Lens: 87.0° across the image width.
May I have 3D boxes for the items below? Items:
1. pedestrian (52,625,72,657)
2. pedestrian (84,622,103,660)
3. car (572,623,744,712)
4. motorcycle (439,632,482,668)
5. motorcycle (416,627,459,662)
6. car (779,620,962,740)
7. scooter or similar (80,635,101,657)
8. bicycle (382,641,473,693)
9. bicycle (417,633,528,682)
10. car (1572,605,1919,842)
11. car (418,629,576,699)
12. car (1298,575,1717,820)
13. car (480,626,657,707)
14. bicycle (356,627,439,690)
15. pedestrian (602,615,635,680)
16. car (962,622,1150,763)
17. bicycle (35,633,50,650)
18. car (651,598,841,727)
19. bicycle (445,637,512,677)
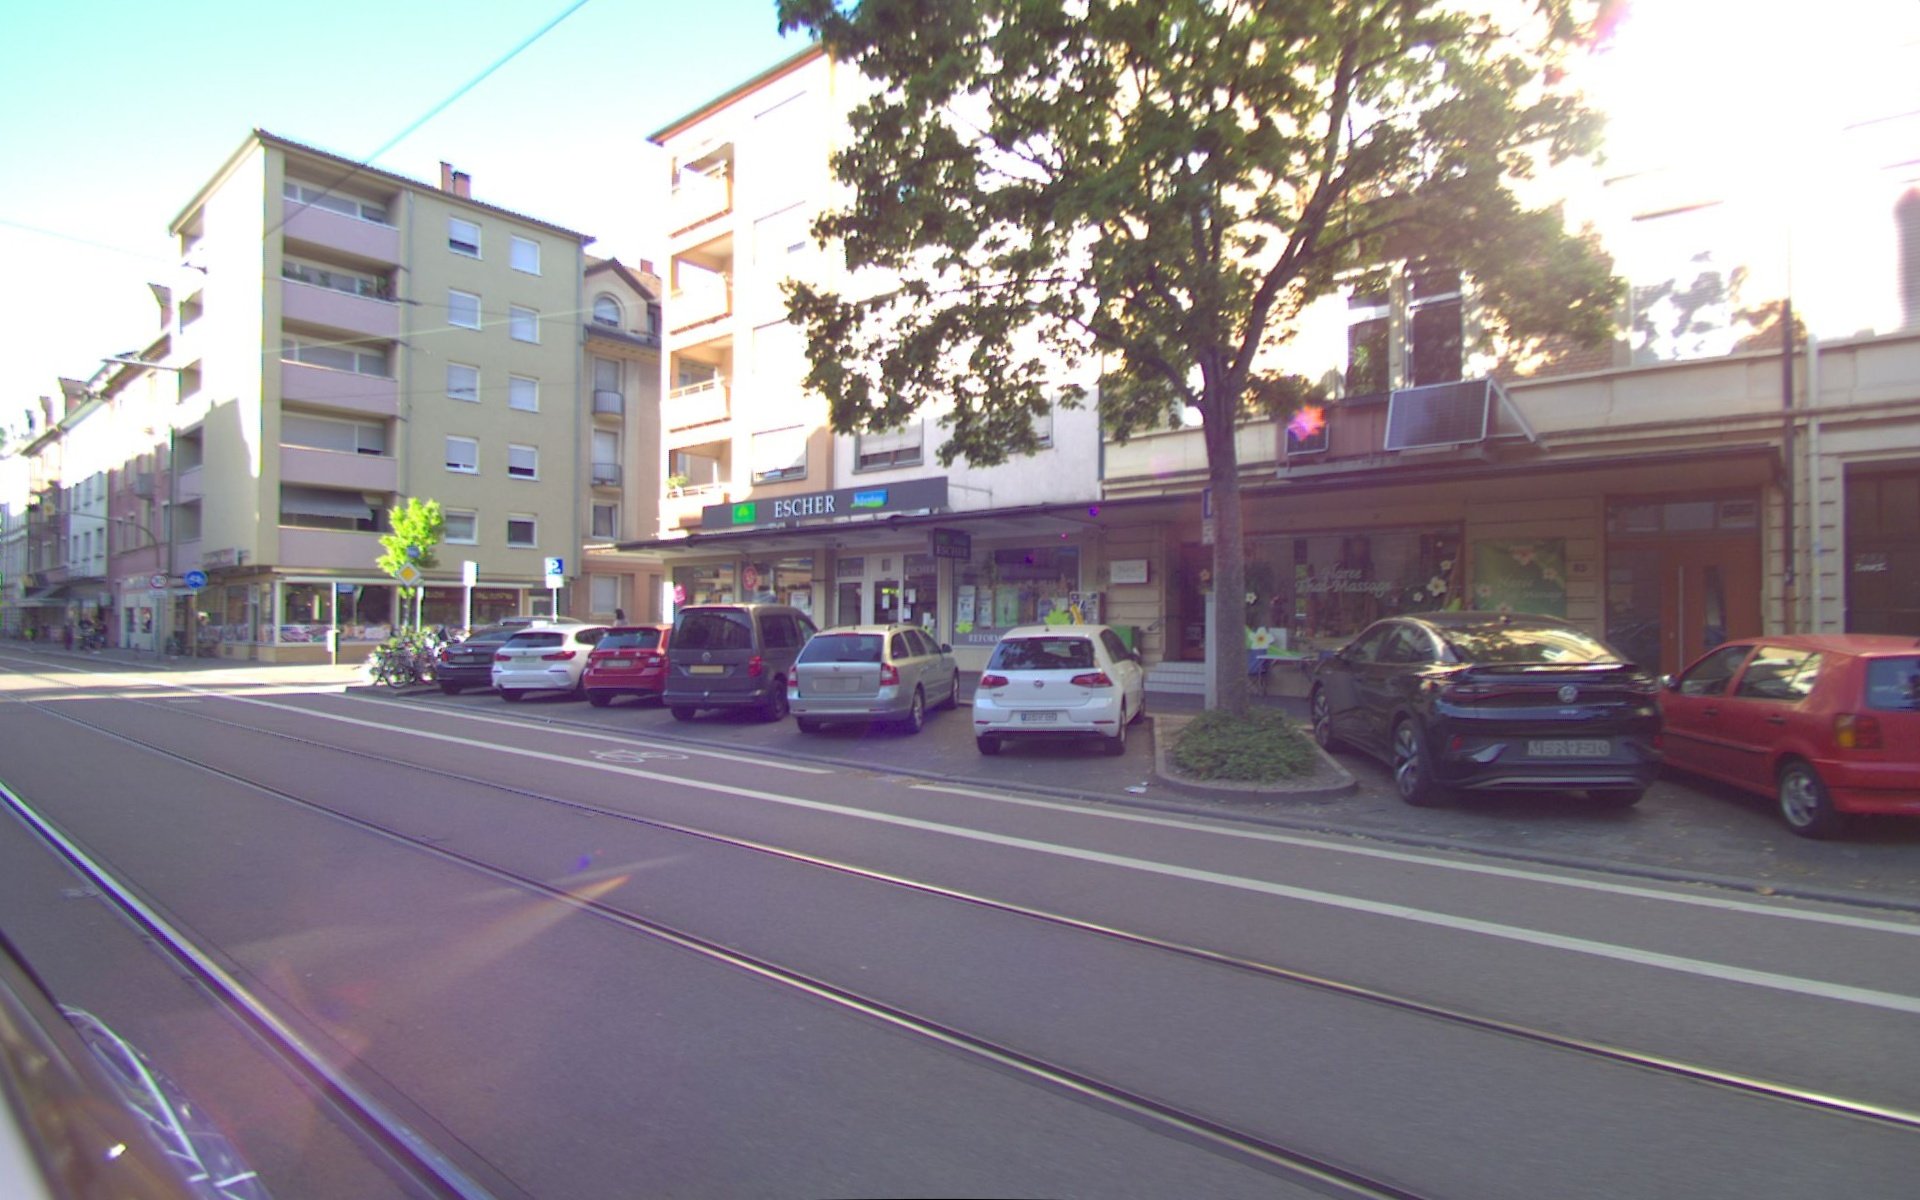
[{"bbox_3d":[-44.684,2.053,50.359,0.623,1.560,0.629,-1,-1,40],"label":"pedestrian"},{"bbox_3d":[-39.445,1.867,46.088,0.616,1.698,0.557,-1,-1,40],"label":"pedestrian"},{"bbox_3d":[-5.474,1.190,18.787,1.631,1.484,3.458,-1,-2,12],"label":"car"},{"bbox_3d":[-18.110,1.793,36.654,2.176,1.219,0.613,-1,-1,41],"label":"motorcycle"},{"bbox_3d":[-18.624,1.569,36.063,2.176,1.219,0.613,-1,-1,41],"label":"motorcycle"},{"bbox_3d":[-1.149,1.044,14.835,1.681,1.460,4.005,0,-1,11],"label":"car"},{"bbox_3d":[-43.530,2.304,50.639,1.104,1.069,0.655,-2,-2,41],"label":"scooter or similar"},{"bbox_3d":[-12.573,1.581,23.909,1.867,1.132,0.681,-2,-2,10],"label":"bicycle"},{"bbox_3d":[-12.146,1.436,25.278,2.396,1.118,0.685,-2,-2,-9],"label":"bicycle"},{"bbox_3d":[6.924,0.797,8.274,1.846,1.500,3.990,0,-1,8],"label":"car"},{"bbox_3d":[-10.001,1.339,22.128,1.605,1.348,3.464,0,-1,7],"label":"car"},{"bbox_3d":[4.775,0.742,9.709,1.971,1.796,4.359,0,-1,6],"label":"car"},{"bbox_3d":[-7.730,1.259,20.379,1.734,1.411,3.782,0,-1,8],"label":"car"},{"bbox_3d":[-12.488,1.302,22.439,2.431,1.330,0.675,-4,-3,37],"label":"bicycle"},{"bbox_3d":[-8.935,1.222,26.470,0.641,1.665,0.563,-1,-1,41],"label":"pedestrian"},{"bbox_3d":[1.358,1.023,12.765,1.749,1.440,3.826,0,-1,15],"label":"car"},{"bbox_3d":[-60.284,2.686,66.483,2.328,1.068,0.420,-1,-1,41],"label":"bicycle"},{"bbox_3d":[-3.347,0.903,16.617,1.777,1.798,3.811,0,1,10],"label":"car"},{"bbox_3d":[-14.260,1.700,29.946,2.429,1.118,0.676,-4,-3,35],"label":"bicycle"}]
